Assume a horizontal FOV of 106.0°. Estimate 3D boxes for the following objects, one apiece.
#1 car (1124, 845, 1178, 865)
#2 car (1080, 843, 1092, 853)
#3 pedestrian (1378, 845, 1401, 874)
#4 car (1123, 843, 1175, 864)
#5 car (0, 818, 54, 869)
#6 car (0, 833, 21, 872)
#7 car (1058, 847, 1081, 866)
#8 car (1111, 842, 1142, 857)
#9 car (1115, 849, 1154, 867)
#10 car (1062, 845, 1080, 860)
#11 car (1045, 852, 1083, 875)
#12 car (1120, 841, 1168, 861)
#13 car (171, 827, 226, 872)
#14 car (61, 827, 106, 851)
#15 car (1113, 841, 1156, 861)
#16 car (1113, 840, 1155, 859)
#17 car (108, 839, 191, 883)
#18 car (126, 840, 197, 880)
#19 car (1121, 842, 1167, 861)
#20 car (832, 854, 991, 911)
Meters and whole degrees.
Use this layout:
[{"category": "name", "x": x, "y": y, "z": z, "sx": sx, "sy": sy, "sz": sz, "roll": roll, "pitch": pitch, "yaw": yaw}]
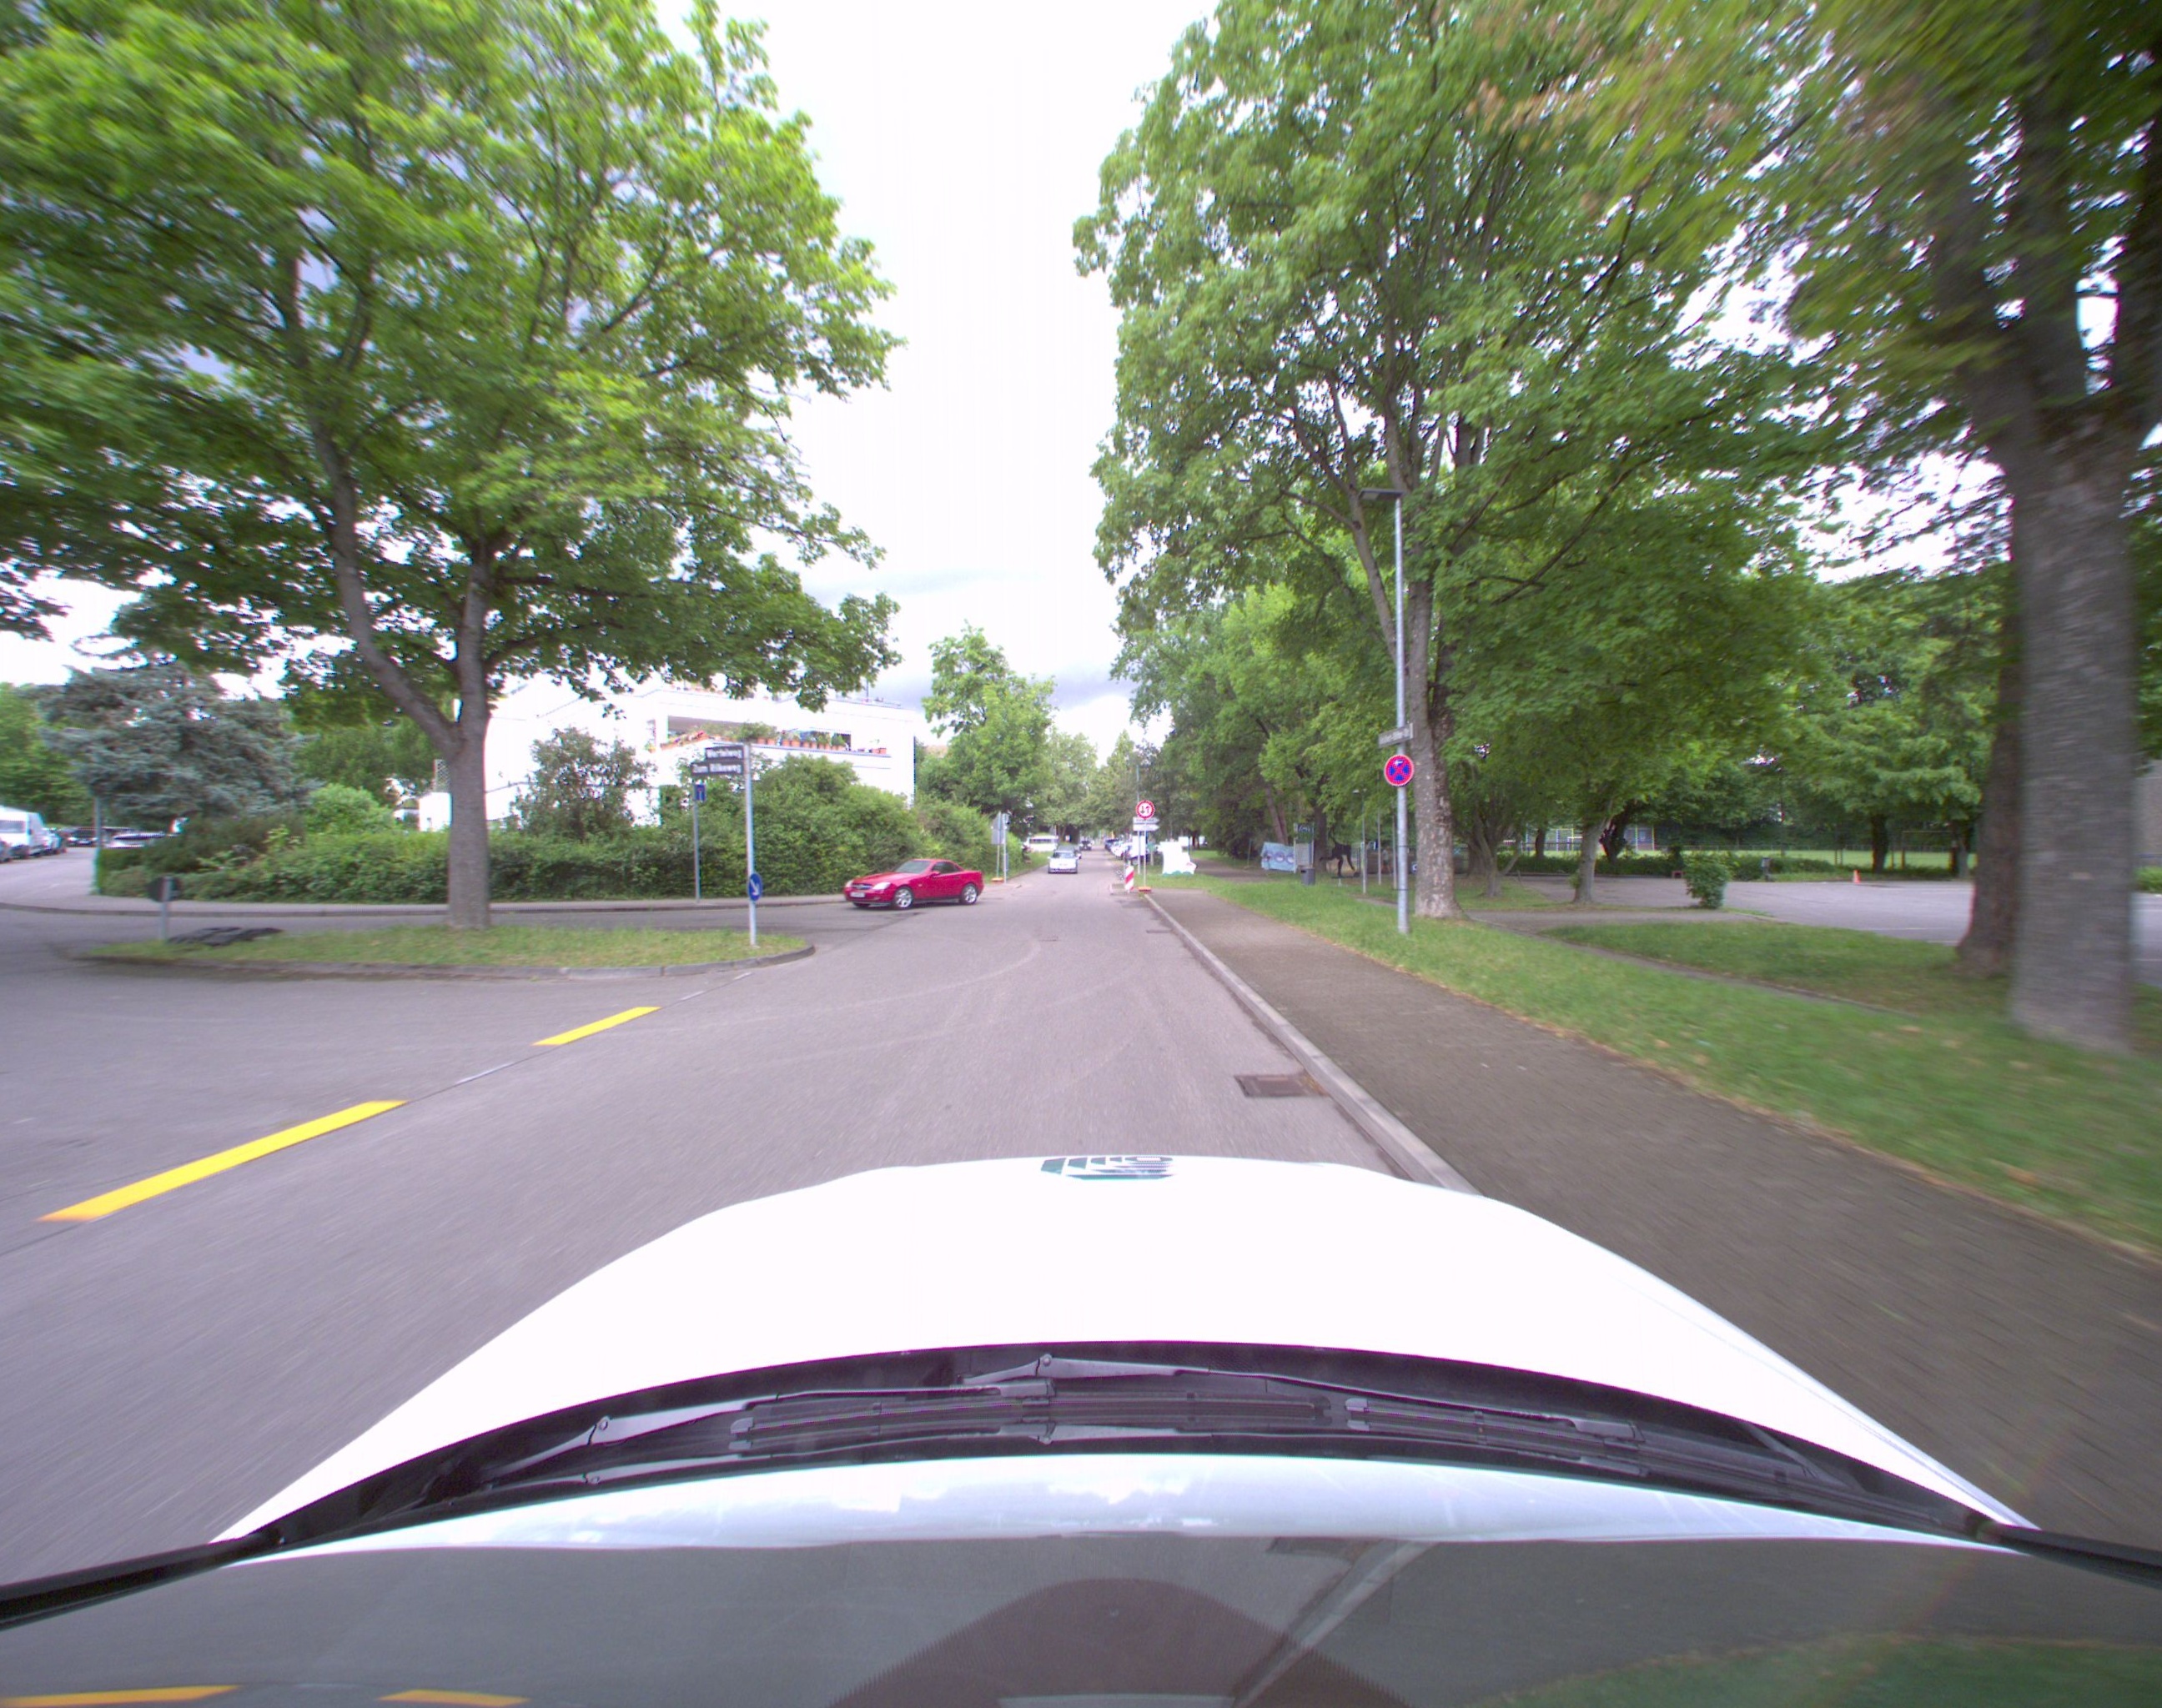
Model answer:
[{"category": "car", "x": 5.438, "y": 0.110, "z": 63.940, "sx": 4.050, "sy": 1.434, "sz": 2.000, "roll": -2, "pitch": -1, "yaw": 0}, {"category": "car", "x": 0.853, "y": -1.001, "z": 141.266, "sx": 1.962, "sy": 1.747, "sz": 4.338, "roll": 0, "pitch": 0, "yaw": 0}, {"category": "pedestrian", "x": 18.571, "y": 0.320, "z": 49.012, "sx": 1.137, "sy": 1.674, "sz": 0.798, "roll": -3, "pitch": -1, "yaw": 26}, {"category": "car", "x": 5.524, "y": -0.008, "z": 66.286, "sx": 4.050, "sy": 1.568, "sz": 1.822, "roll": -2, "pitch": -1, "yaw": 0}, {"category": "car", "x": -56.366, "y": -0.498, "z": 42.908, "sx": 2.043, "sy": 2.441, "sz": 4.838, "roll": -1, "pitch": -2, "yaw": -42}, {"category": "car", "x": -51.515, "y": -0.074, "z": 38.016, "sx": 1.769, "sy": 1.717, "sz": 3.951, "roll": -1, "pitch": -2, "yaw": -42}, {"category": "car", "x": -0.980, "y": 0.219, "z": 70.224, "sx": 1.797, "sy": 1.591, "sz": 4.297, "roll": 0, "pitch": 0, "yaw": 1}, {"category": "car", "x": 6.171, "y": -0.655, "z": 111.023, "sx": 4.054, "sy": 1.687, "sz": 1.821, "roll": -4, "pitch": 1, "yaw": -3}, {"category": "car", "x": 5.975, "y": 0.462, "z": 90.619, "sx": 4.054, "sy": 1.687, "sz": 1.821, "roll": -4, "pitch": 1, "yaw": -3}, {"category": "car", "x": -1.091, "y": -0.206, "z": 89.192, "sx": 1.797, "sy": 1.591, "sz": 4.296, "roll": 0, "pitch": 0, "yaw": 1}, {"category": "car", "x": -0.965, "y": 0.522, "z": 49.207, "sx": 1.772, "sy": 1.306, "sz": 4.303, "roll": 0, "pitch": 1, "yaw": 6}, {"category": "car", "x": 5.532, "y": -0.277, "z": 71.571, "sx": 4.050, "sy": 1.568, "sz": 1.822, "roll": -2, "pitch": 1, "yaw": 0}, {"category": "car", "x": -65.584, "y": -0.273, "z": 60.644, "sx": 2.467, "sy": 2.999, "sz": 6.786, "roll": -1, "pitch": -2, "yaw": -45}, {"category": "car", "x": -82.313, "y": -1.225, "z": 67.235, "sx": 1.769, "sy": 1.717, "sz": 3.951, "roll": -1, "pitch": -2, "yaw": -42}, {"category": "car", "x": 5.341, "y": -0.275, "z": 81.650, "sx": 4.054, "sy": 1.687, "sz": 1.821, "roll": -4, "pitch": 1, "yaw": -3}, {"category": "car", "x": 5.563, "y": -0.522, "z": 85.724, "sx": 4.054, "sy": 1.687, "sz": 1.821, "roll": -4, "pitch": 1, "yaw": -3}, {"category": "car", "x": -35.051, "y": 0.226, "z": 30.727, "sx": 1.770, "sy": 1.554, "sz": 3.951, "roll": -1, "pitch": 1, "yaw": -45}, {"category": "car", "x": -39.302, "y": 0.292, "z": 34.885, "sx": 1.770, "sy": 1.554, "sz": 3.950, "roll": -1, "pitch": -2, "yaw": -45}, {"category": "car", "x": 5.934, "y": -0.205, "z": 76.565, "sx": 4.054, "sy": 1.488, "sz": 1.821, "roll": -4, "pitch": 1, "yaw": -3}, {"category": "car", "x": -4.396, "y": 0.679, "z": 21.677, "sx": 1.733, "sy": 1.335, "sz": 4.091, "roll": 0, "pitch": 1, "yaw": 34}]
